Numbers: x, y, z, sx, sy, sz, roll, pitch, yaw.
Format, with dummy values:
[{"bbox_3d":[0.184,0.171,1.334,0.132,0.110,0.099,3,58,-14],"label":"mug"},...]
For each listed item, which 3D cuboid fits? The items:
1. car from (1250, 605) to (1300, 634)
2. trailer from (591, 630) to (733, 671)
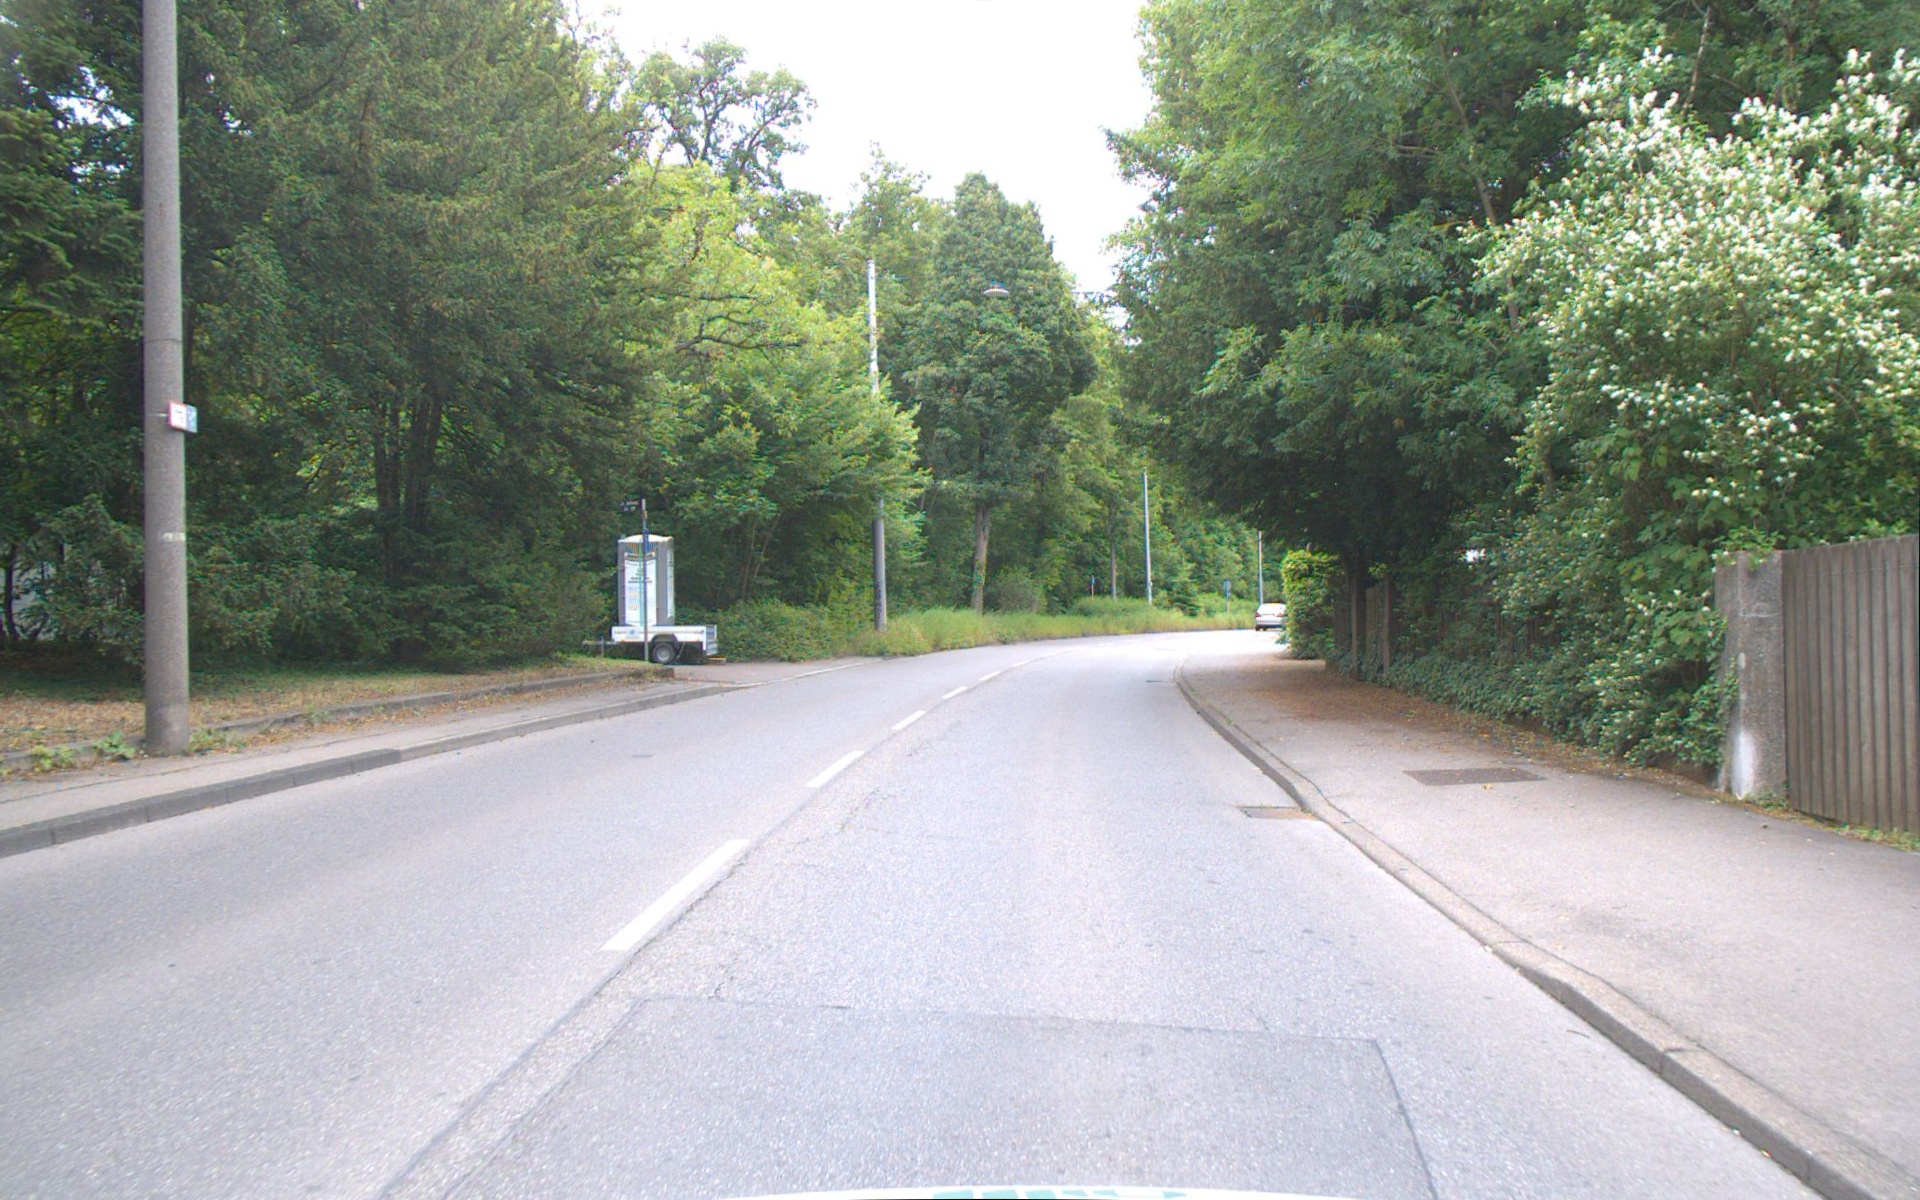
[{"bbox_3d":[16.966,1.071,89.066,1.952,1.512,4.000,-1,-1,21],"label":"car"},{"bbox_3d":[-6.491,1.100,36.207,2.897,0.843,1.474,0,-1,-5],"label":"trailer"}]
